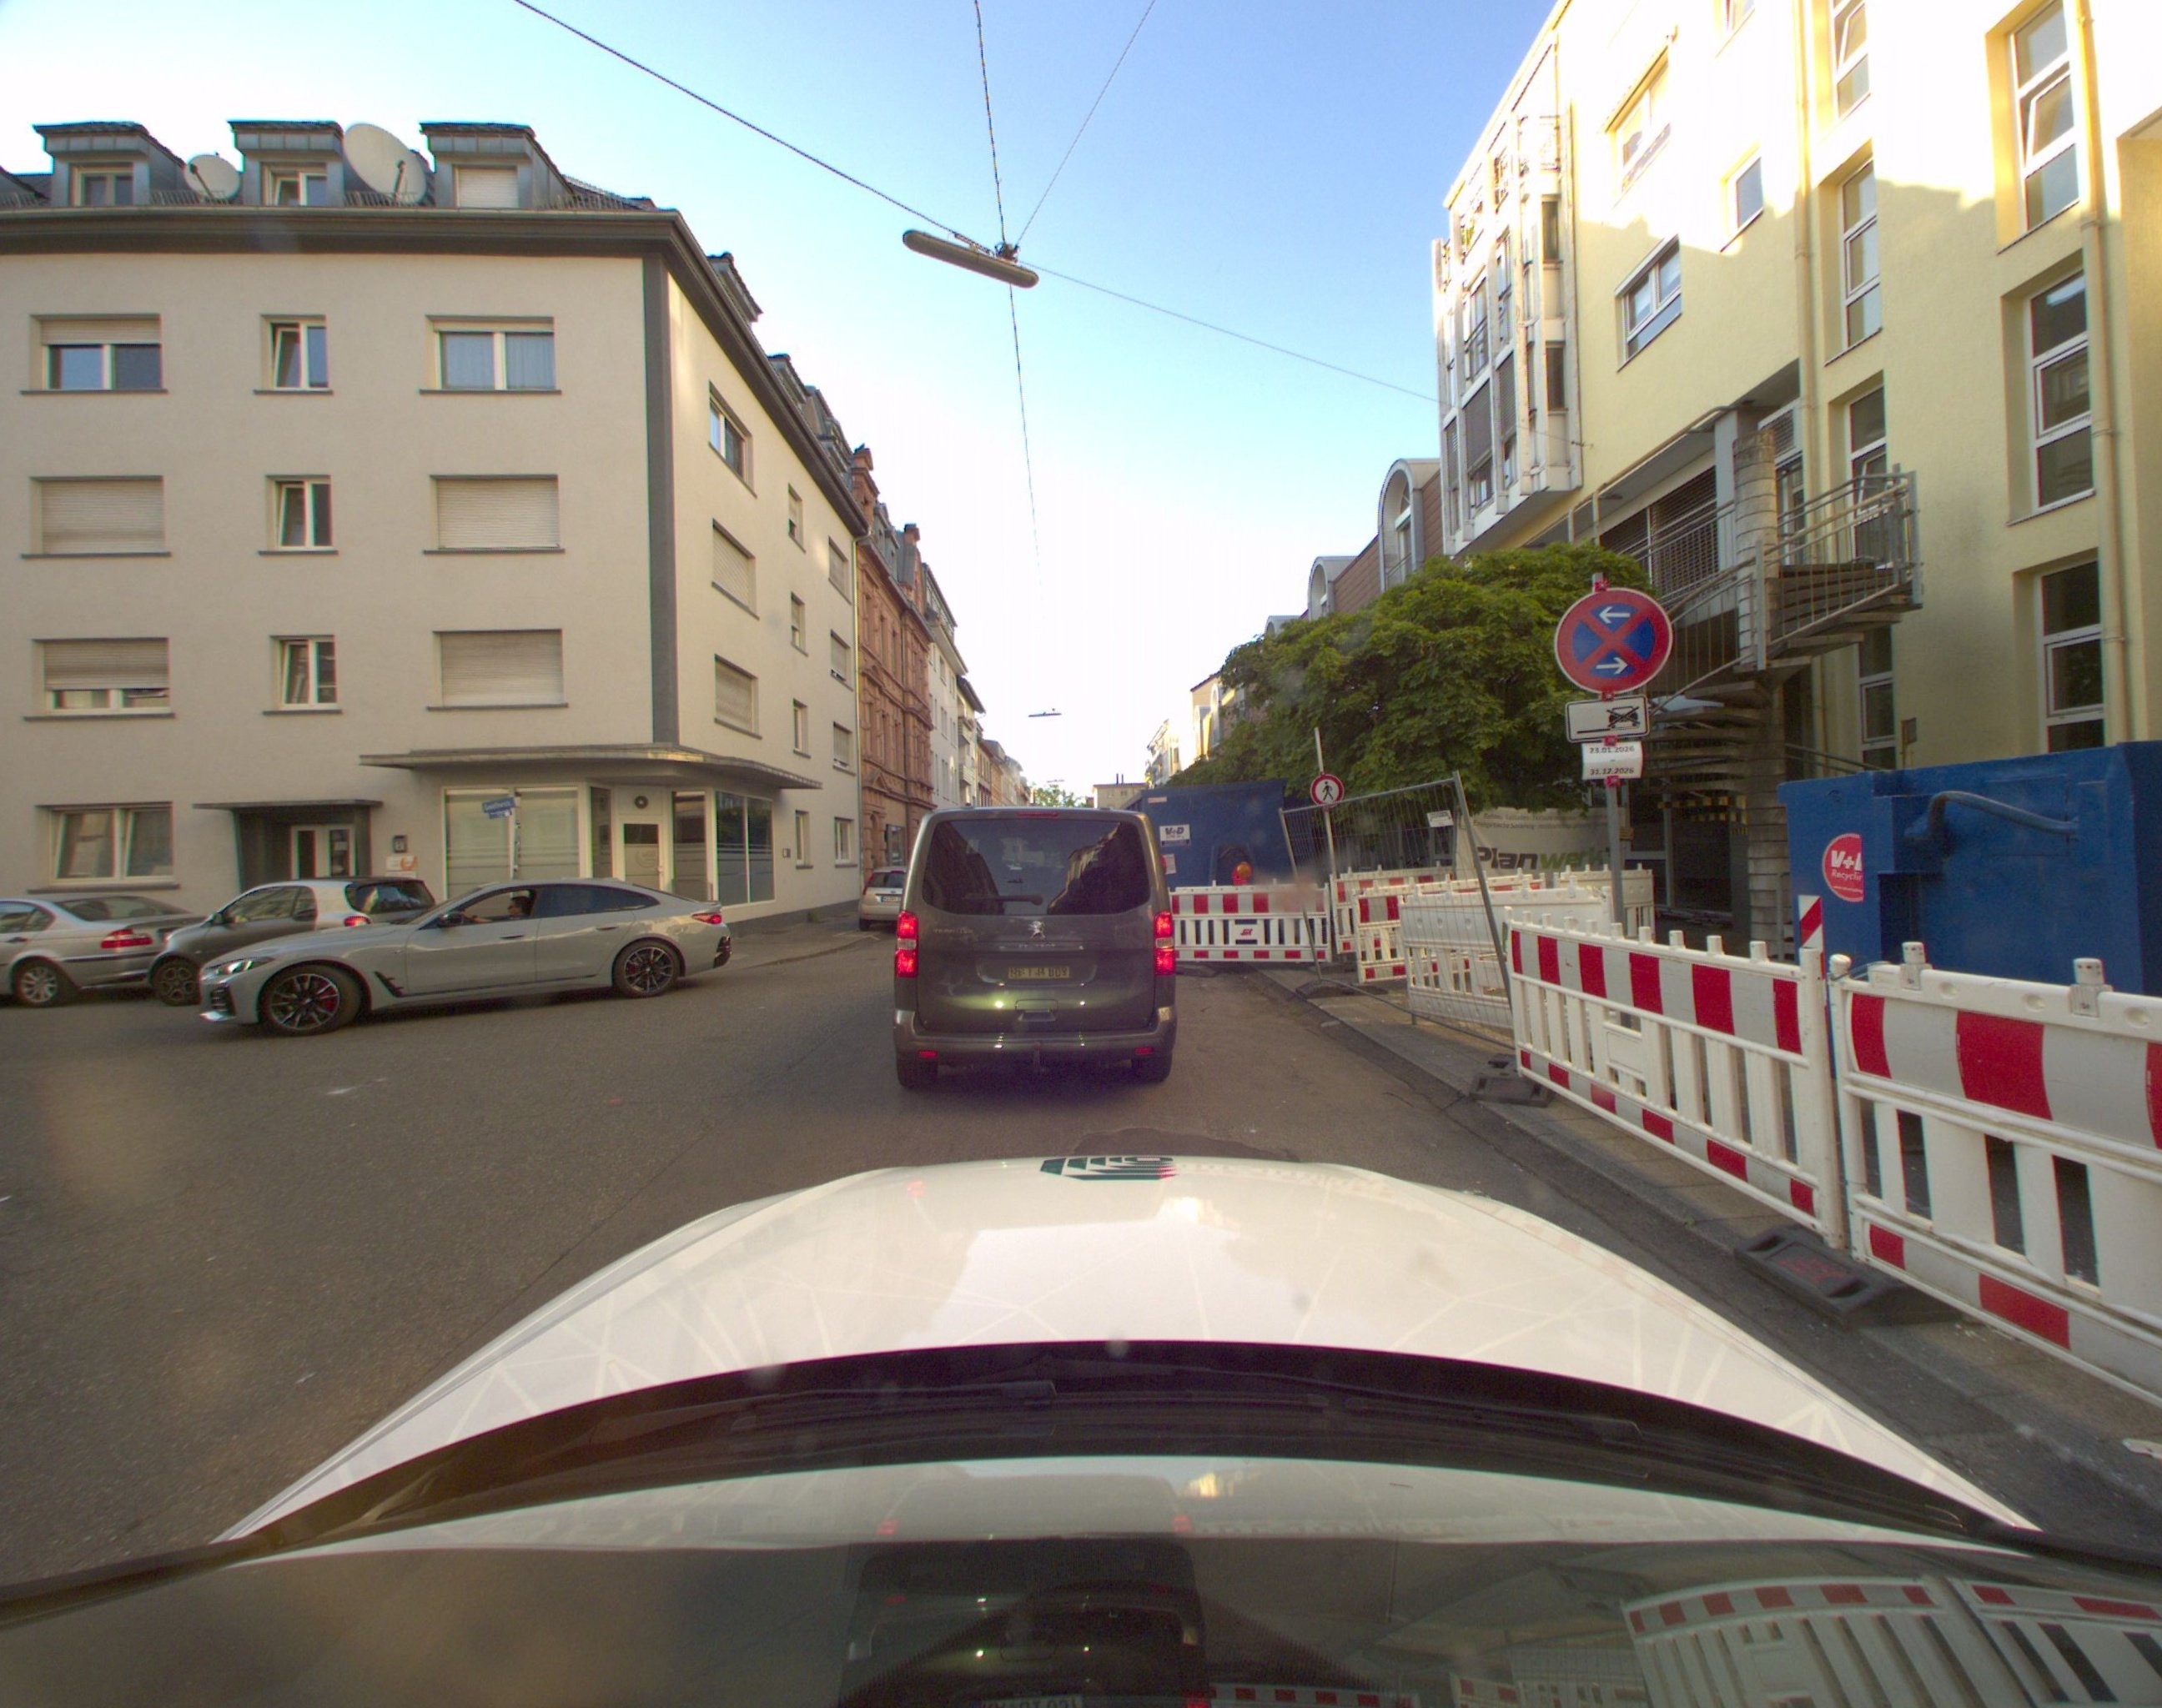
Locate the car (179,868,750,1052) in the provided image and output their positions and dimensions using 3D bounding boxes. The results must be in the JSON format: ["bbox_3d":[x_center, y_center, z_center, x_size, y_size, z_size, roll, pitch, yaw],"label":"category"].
[{"bbox_3d":[-6.642,0.978,9.443,4.835,1.451,1.911,-2,0,-39],"label":"car"}]

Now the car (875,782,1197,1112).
[{"bbox_3d":[-0.403,0.562,6.903,1.862,1.886,4.228,-1,-1,-4],"label":"car"}]

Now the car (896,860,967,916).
[{"bbox_3d":[-4.462,0.988,24.739,1.653,1.525,3.412,3,-1,-4],"label":"car"}]

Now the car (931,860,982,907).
[{"bbox_3d":[-4.822,1.119,31.831,1.663,1.666,3.087,3,-1,-4],"label":"car"}]

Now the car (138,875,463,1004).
[{"bbox_3d":[-10.295,1.077,10.916,2.778,1.540,1.593,0,0,-1],"label":"car"}]

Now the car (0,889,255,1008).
[{"bbox_3d":[-14.215,1.256,11.072,4.193,1.403,1.602,-1,0,-3],"label":"car"}]

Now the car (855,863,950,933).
[{"bbox_3d":[-4.160,0.982,19.419,1.653,1.460,3.412,3,-1,-4],"label":"car"}]

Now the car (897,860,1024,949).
[{"bbox_3d":[-2.217,0.916,15.804,1.648,1.460,3.422,-3,-2,4],"label":"car"}]

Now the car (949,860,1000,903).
[{"bbox_3d":[-4.564,1.169,35.472,1.888,1.720,3.748,3,-1,-4],"label":"car"}]
